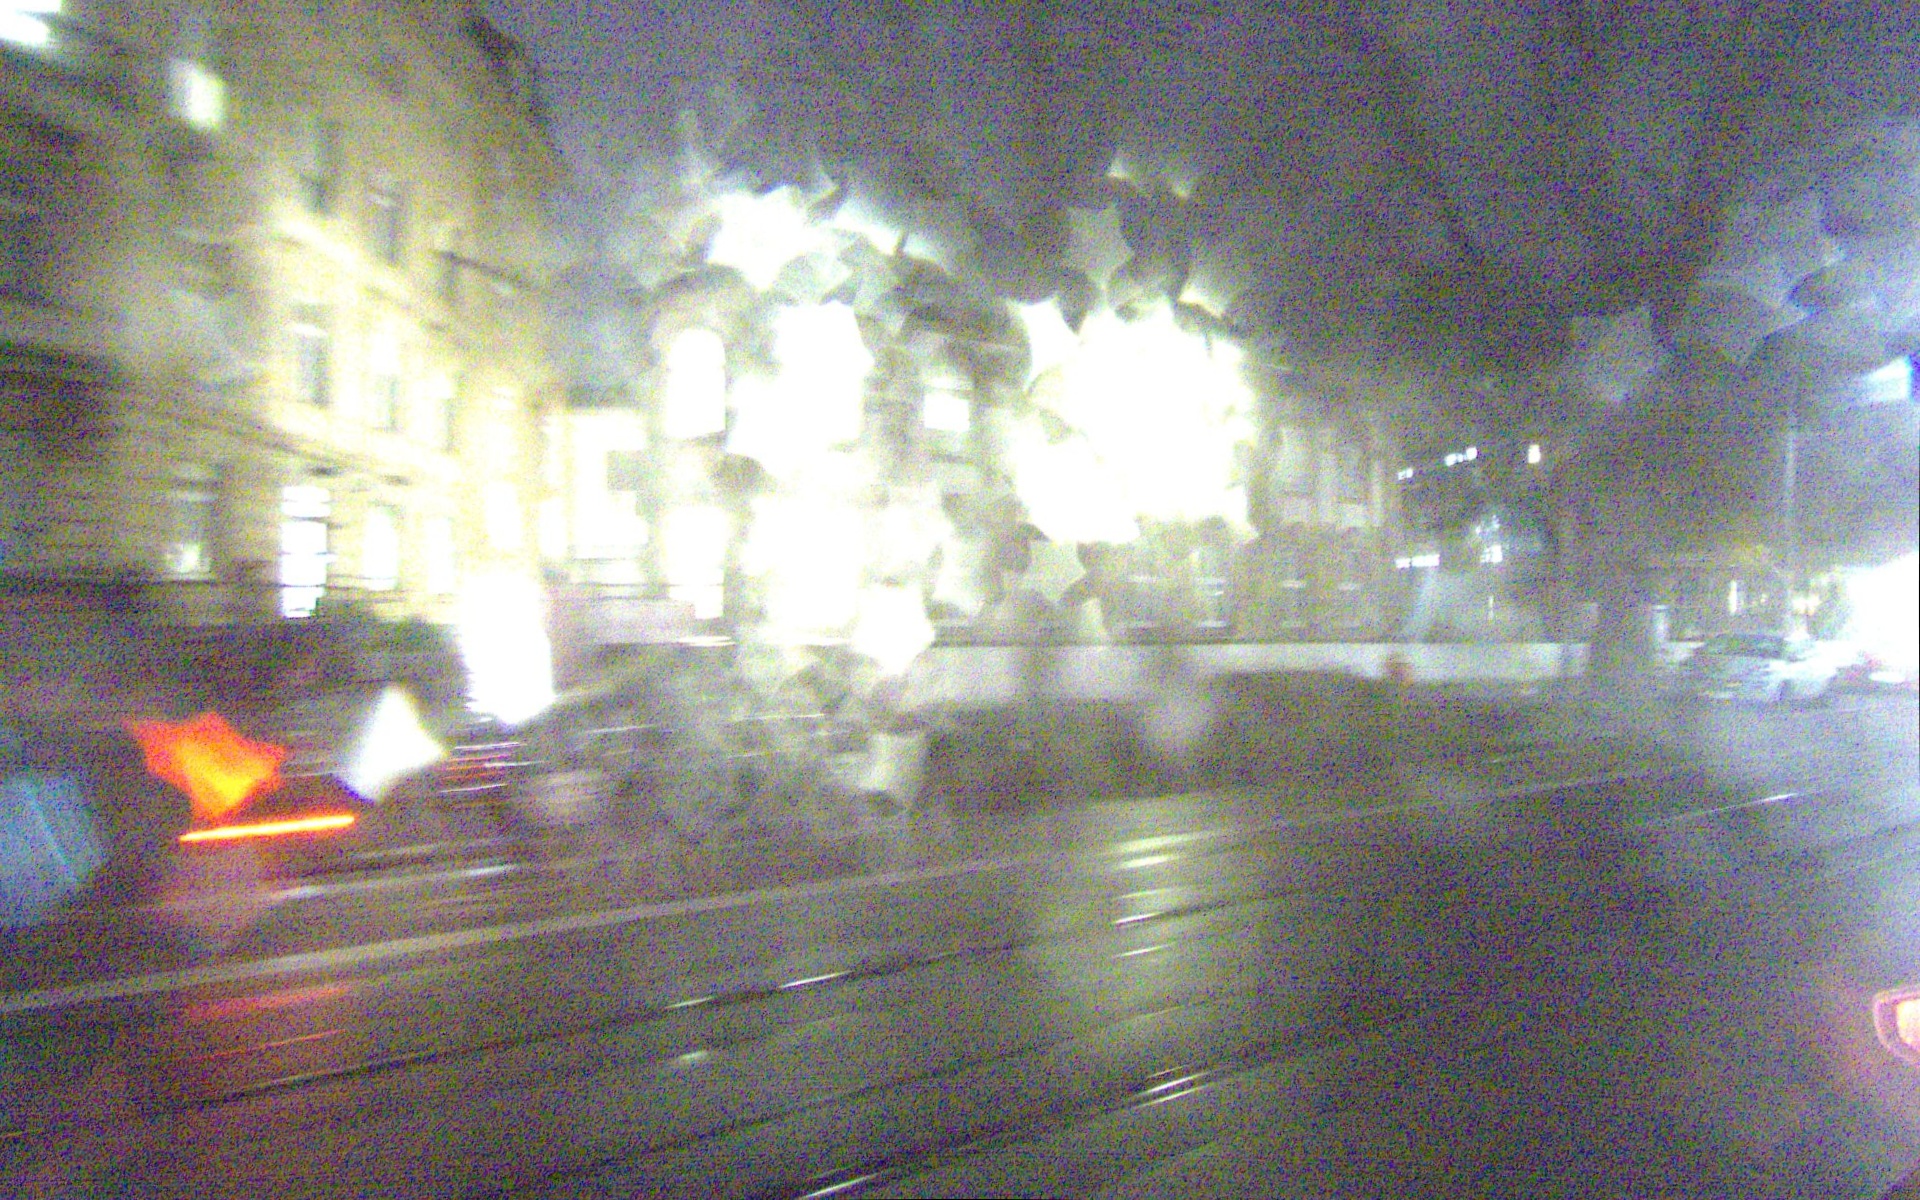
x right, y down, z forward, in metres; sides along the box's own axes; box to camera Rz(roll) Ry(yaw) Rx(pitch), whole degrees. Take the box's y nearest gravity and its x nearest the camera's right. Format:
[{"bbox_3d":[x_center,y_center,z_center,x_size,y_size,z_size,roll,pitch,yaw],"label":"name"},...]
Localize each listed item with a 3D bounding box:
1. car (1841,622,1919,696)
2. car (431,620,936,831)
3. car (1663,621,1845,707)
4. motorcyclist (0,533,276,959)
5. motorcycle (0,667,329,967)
[{"bbox_3d":[22.782,1.372,24.060,3.580,1.527,1.631,-1,1,-33],"label":"car"},{"bbox_3d":[-2.353,0.964,8.789,3.954,1.405,1.660,2,1,-30],"label":"car"},{"bbox_3d":[15.329,1.190,19.353,3.767,1.447,1.600,2,0,-33],"label":"car"},{"bbox_3d":[-3.981,0.652,4.747,1.123,1.762,0.914,3,-6,-32],"label":"motorcyclist"},{"bbox_3d":[-4.112,0.946,4.632,1.979,1.246,0.813,3,-6,-32],"label":"motorcycle"}]
